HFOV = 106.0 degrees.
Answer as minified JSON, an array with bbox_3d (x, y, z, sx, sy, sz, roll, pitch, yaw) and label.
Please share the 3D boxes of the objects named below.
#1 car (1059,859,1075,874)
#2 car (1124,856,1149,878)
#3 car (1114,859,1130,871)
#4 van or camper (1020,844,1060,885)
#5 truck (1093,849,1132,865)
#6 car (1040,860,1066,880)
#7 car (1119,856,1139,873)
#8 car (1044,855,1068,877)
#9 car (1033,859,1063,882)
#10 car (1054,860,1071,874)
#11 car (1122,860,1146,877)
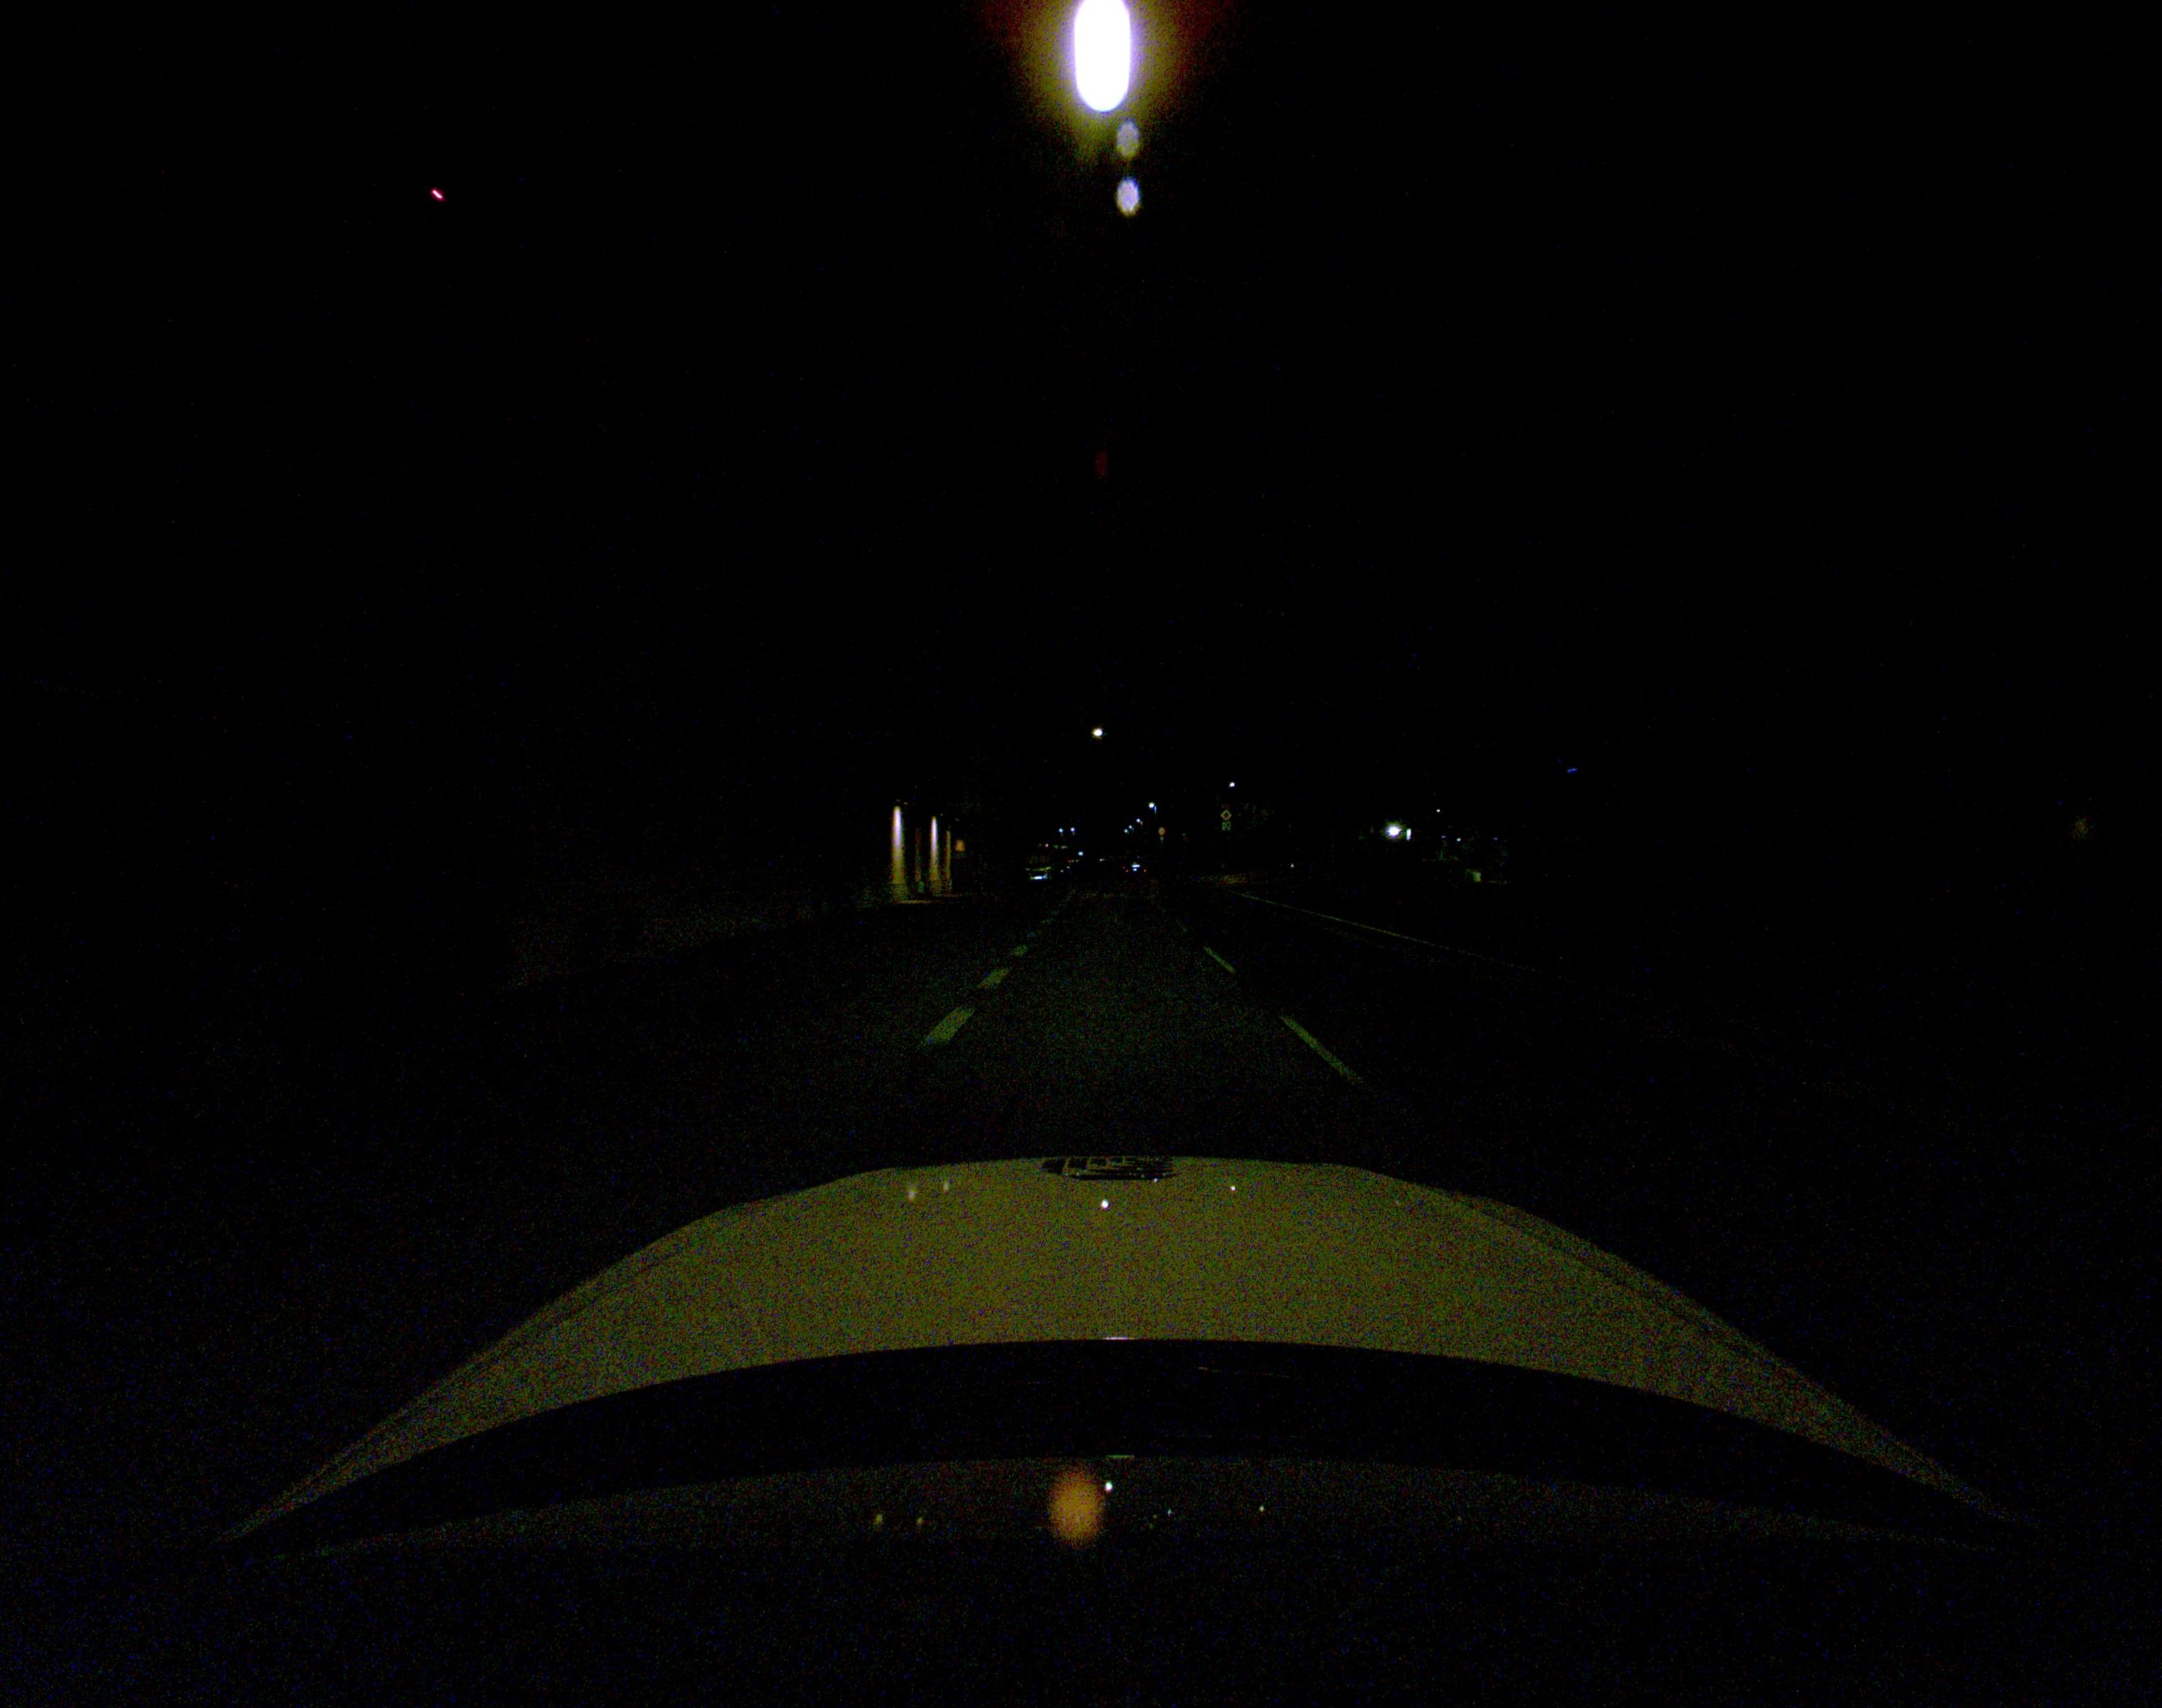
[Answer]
[{"bbox_3d":[-1.614,1.468,94.993,1.671,1.566,4.105,-1,-1,1],"label":"car"},{"bbox_3d":[4.463,1.045,66.099,1.876,1.603,4.111,-3,-1,3],"label":"car"},{"bbox_3d":[4.997,1.364,100.228,1.752,1.445,4.026,-2,-1,1],"label":"car"},{"bbox_3d":[-2.734,0.714,55.757,2.150,2.535,6.227,-3,-1,1],"label":"van or camper"},{"bbox_3d":[5.475,0.501,143.643,6.758,2.844,1.999,-1,0,-2],"label":"truck"},{"bbox_3d":[-2.368,1.289,66.746,1.836,1.507,4.733,-2,-1,-5],"label":"car"},{"bbox_3d":[5.214,1.151,89.004,2.032,1.694,4.883,-3,-1,2],"label":"car"},{"bbox_3d":[-2.304,1.098,76.842,1.986,1.955,4.807,-1,-1,1],"label":"car"},{"bbox_3d":[-2.458,1.210,61.184,1.885,1.591,4.375,-3,-1,1],"label":"car"},{"bbox_3d":[-2.014,1.399,89.158,1.699,1.510,4.100,0,-1,1],"label":"car"},{"bbox_3d":[4.623,1.250,71.322,1.956,1.383,4.001,-2,-1,2],"label":"car"}]
